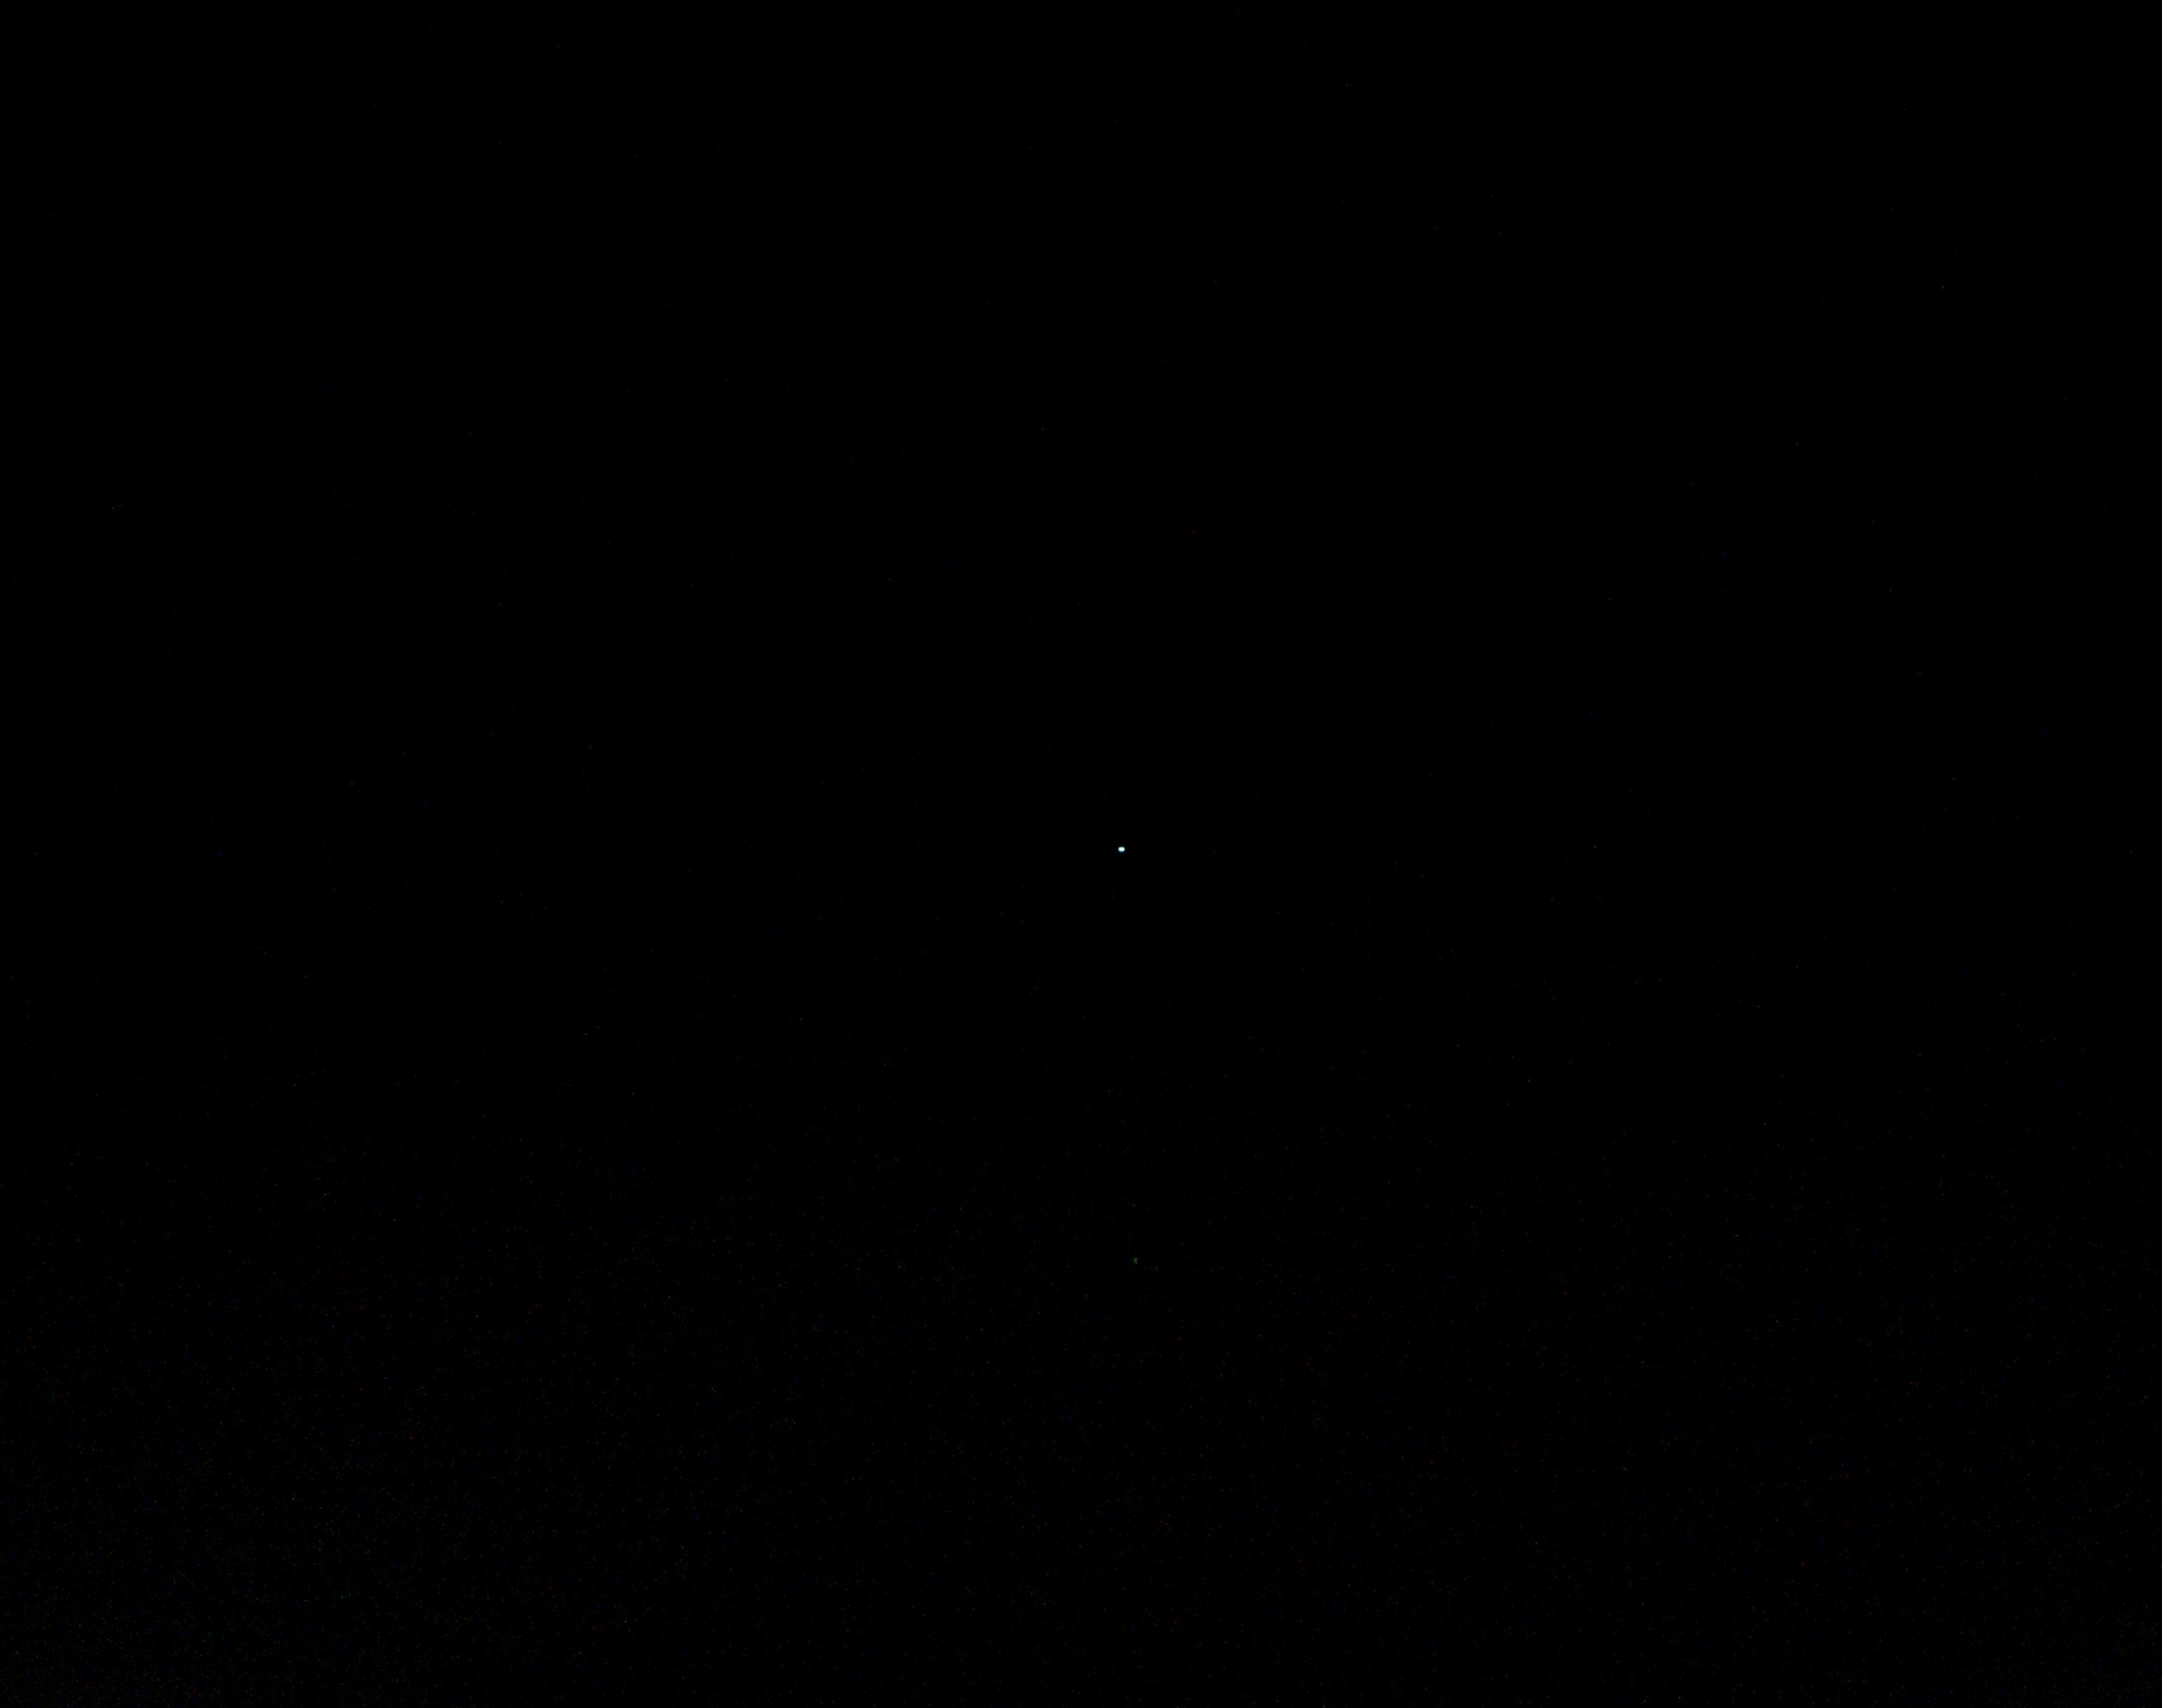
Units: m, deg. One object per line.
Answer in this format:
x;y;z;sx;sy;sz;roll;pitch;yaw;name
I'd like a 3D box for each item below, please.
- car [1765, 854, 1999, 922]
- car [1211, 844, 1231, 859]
20.132;0.776;19.388;1.830;1.499;4.000;-2;0;2;car
19.924;-0.325;108.301;1.998;2.002;4.608;-2;1;2;car
